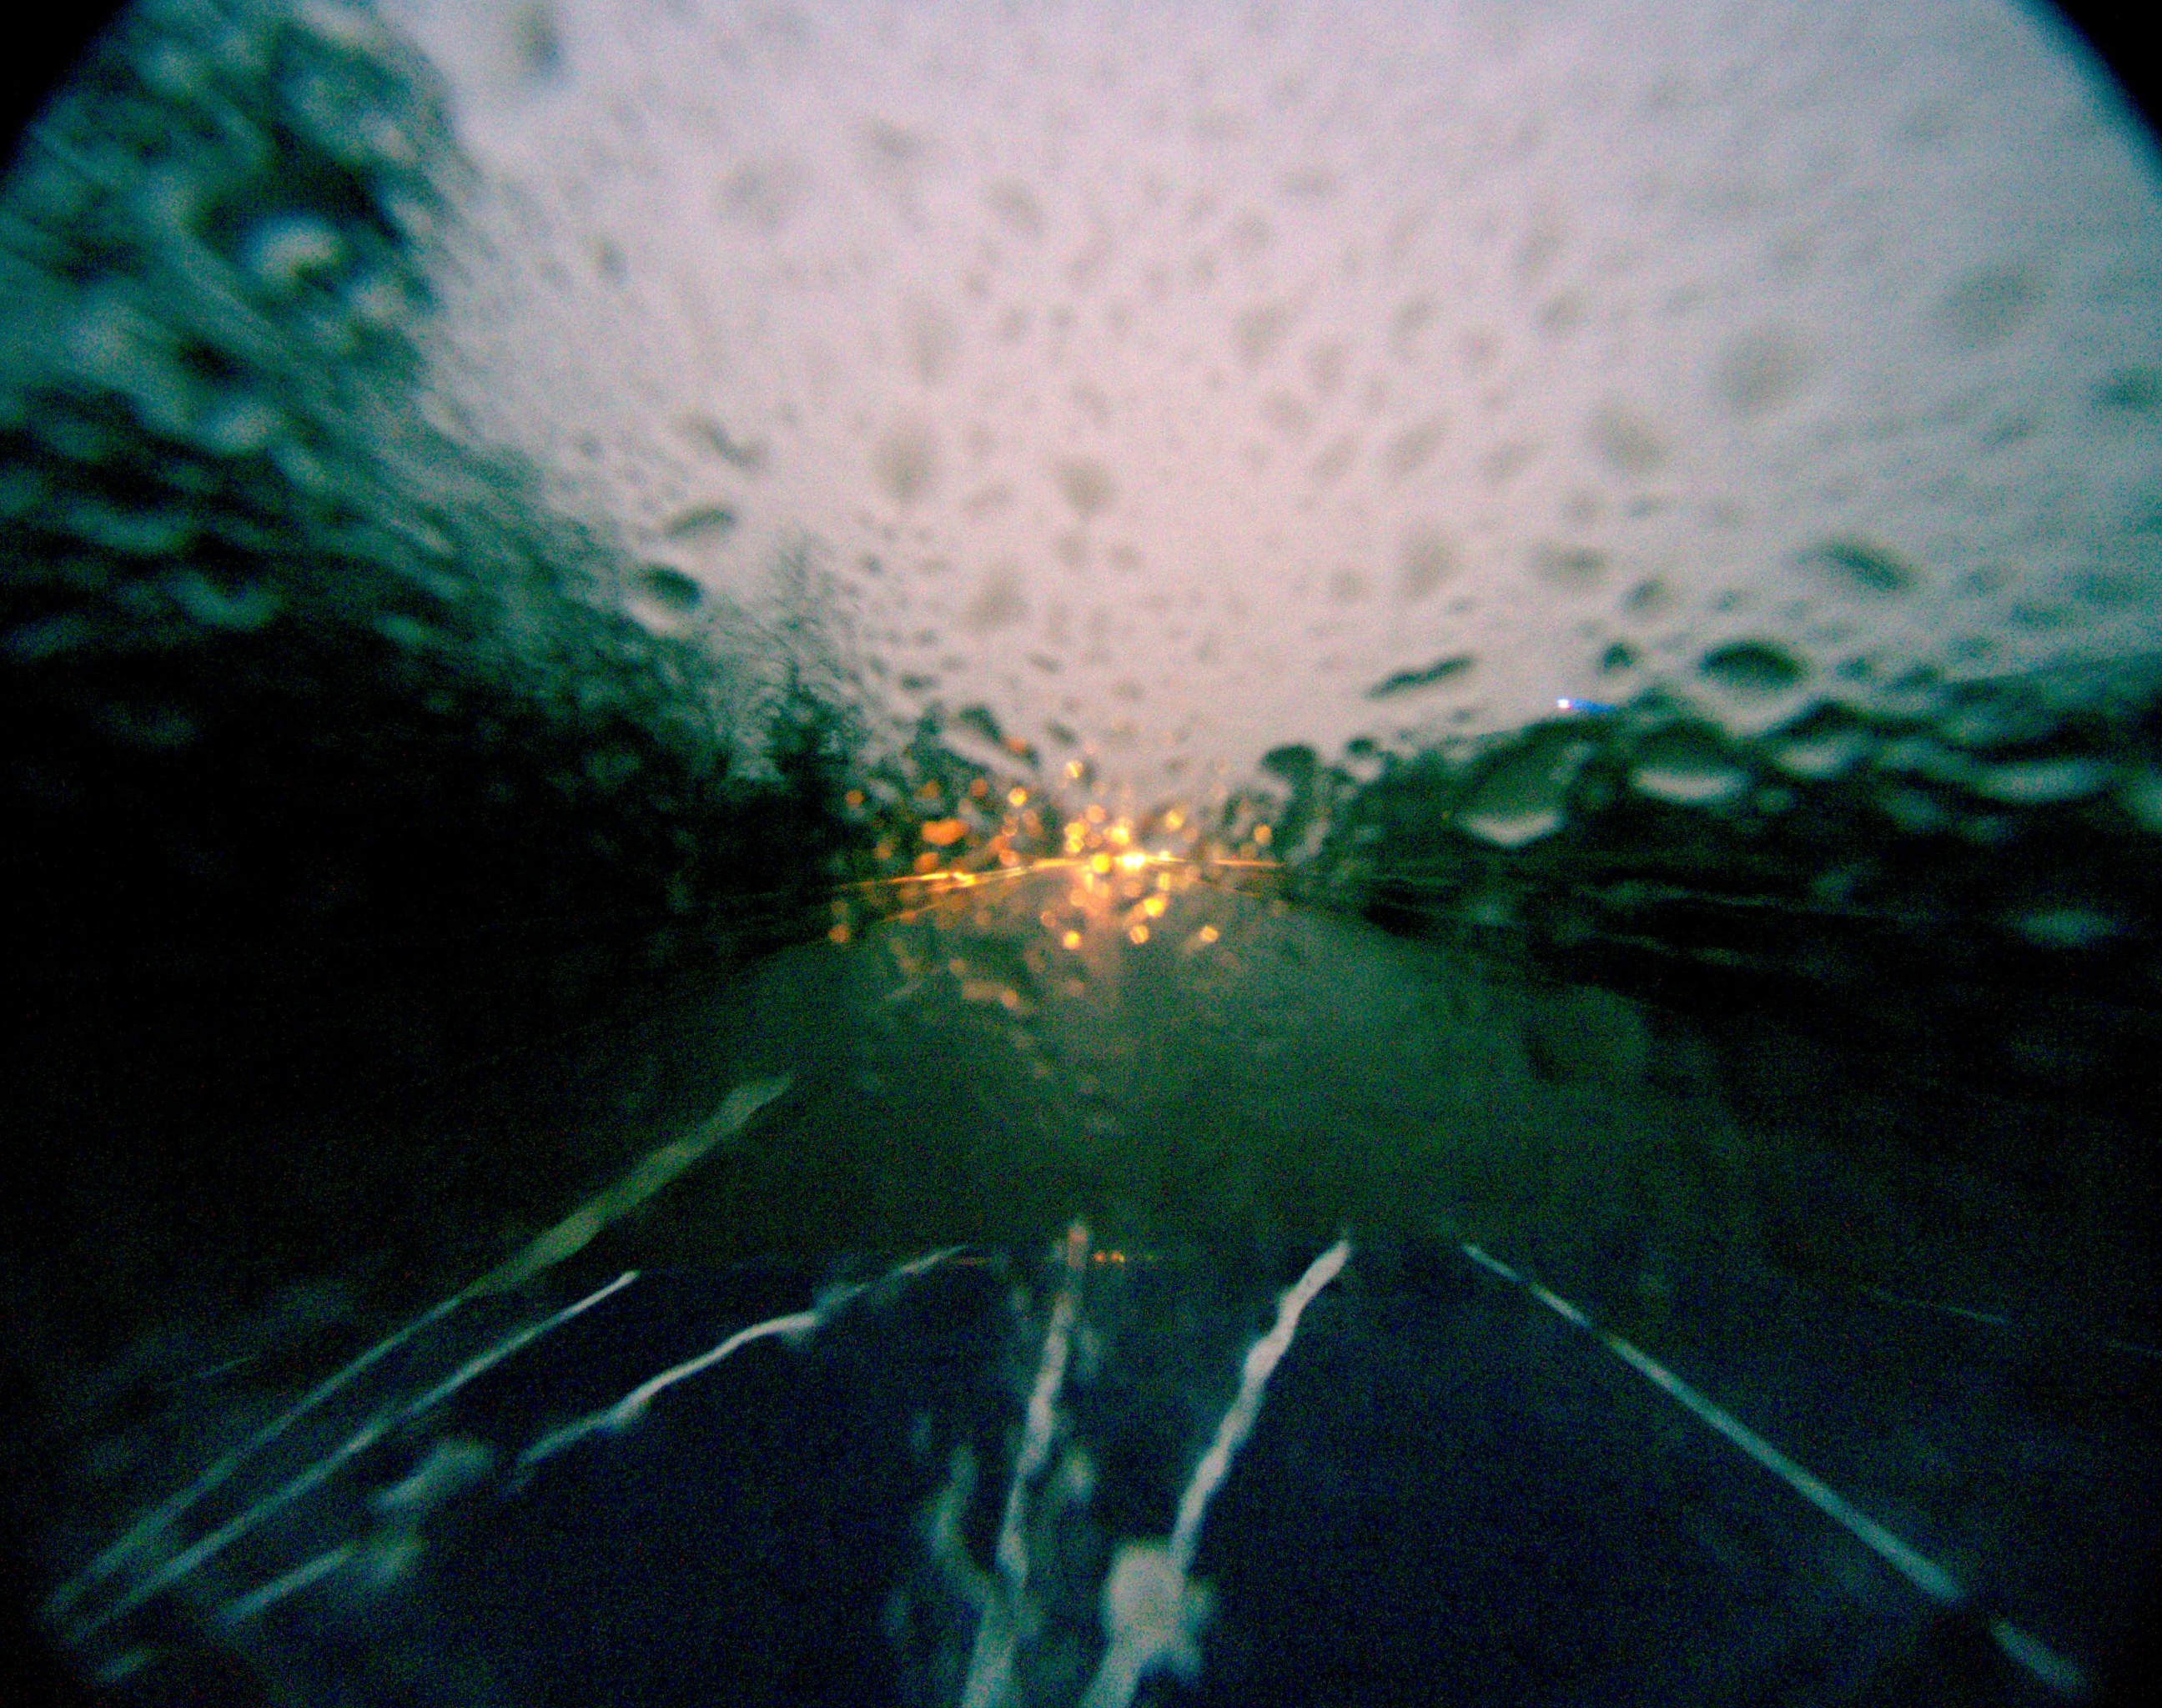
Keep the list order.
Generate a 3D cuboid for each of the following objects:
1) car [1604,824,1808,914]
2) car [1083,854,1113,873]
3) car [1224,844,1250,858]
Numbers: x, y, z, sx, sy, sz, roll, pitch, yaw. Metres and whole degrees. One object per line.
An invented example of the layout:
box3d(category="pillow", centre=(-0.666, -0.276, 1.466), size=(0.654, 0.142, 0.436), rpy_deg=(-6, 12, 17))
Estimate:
box3d(category="car", centre=(16.311, 0.368, 20.155), size=(1.998, 2.002, 4.000), rpy_deg=(-4, 0, 0))
box3d(category="car", centre=(1.559, 0.815, 67.138), size=(1.951, 1.511, 4.791), rpy_deg=(-2, 0, 10))
box3d(category="car", centre=(22.291, -0.408, 108.578), size=(1.854, 1.675, 3.995), rpy_deg=(-4, 0, -18))
